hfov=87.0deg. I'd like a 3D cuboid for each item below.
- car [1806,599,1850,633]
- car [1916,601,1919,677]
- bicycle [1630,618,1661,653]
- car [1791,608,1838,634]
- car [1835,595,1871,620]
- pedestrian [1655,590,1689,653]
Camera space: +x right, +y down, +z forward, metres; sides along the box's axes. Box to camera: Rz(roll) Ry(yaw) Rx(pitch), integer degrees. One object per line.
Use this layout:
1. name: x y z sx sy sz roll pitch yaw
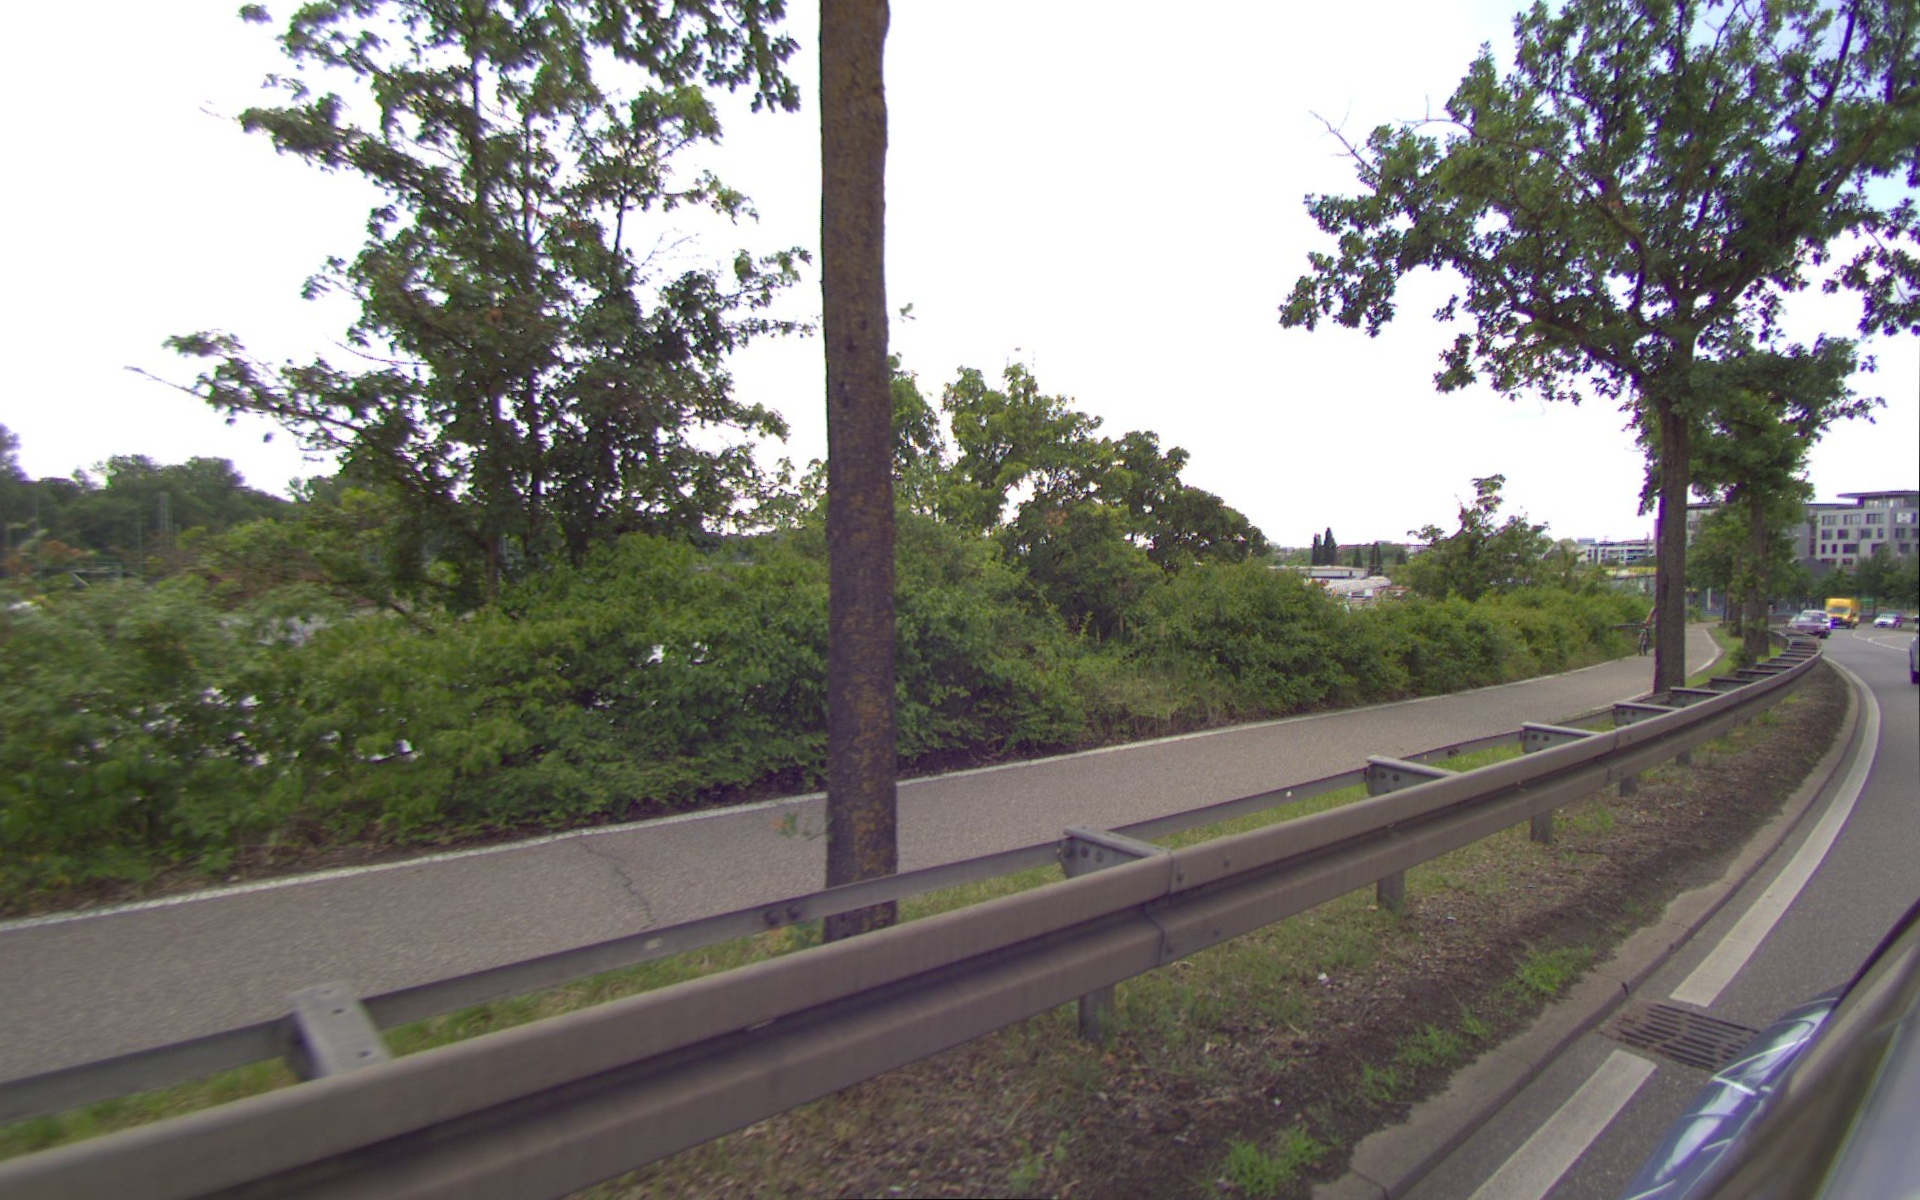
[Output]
1. car: 59.744 1.045 69.683 1.991 2.037 3.945 6 4 38
2. car: 19.452 0.783 19.029 1.820 1.544 3.943 0 -1 39
3. bicycle: 19.024 0.963 28.061 0.555 0.880 1.800 3 1 38
4. car: 47.799 1.158 56.645 1.840 1.223 3.944 5 3 39
5. car: 86.119 0.689 97.565 4.801 2.349 1.997 0 0 -41
6. pedestrian: 19.523 0.586 27.752 0.656 1.662 1.040 3 1 38
